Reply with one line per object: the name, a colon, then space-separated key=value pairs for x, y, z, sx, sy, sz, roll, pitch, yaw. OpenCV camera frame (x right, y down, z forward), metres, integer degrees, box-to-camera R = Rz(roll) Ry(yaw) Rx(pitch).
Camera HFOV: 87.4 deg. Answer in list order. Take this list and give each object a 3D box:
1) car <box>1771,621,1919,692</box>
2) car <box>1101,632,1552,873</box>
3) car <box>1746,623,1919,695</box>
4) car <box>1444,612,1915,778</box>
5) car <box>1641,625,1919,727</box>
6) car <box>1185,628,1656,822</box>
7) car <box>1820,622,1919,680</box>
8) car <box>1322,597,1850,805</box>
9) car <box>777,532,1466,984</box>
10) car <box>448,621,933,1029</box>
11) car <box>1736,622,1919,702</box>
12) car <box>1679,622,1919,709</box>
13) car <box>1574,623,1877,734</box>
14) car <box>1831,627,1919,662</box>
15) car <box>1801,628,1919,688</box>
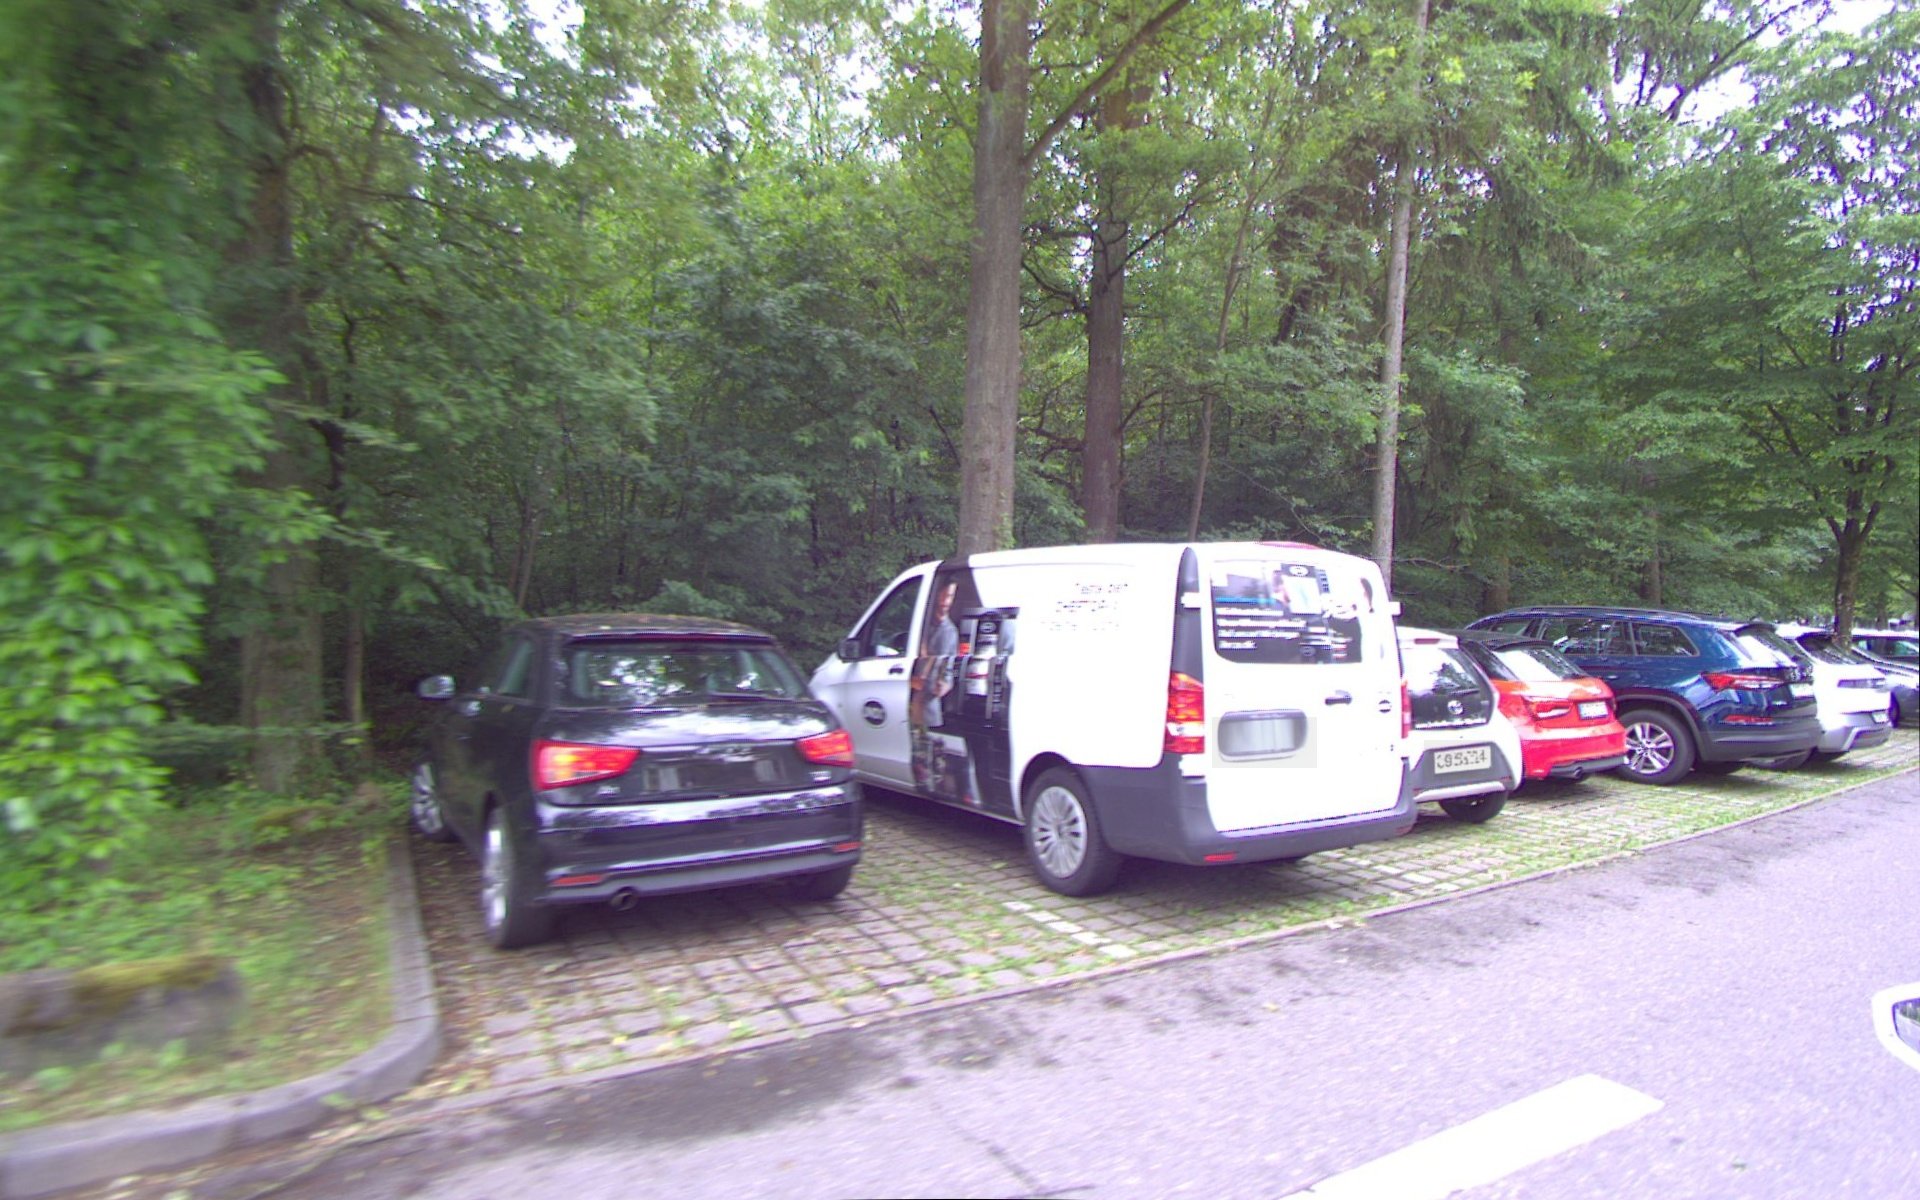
car: x=23.341 y=1.393 z=25.430 sx=1.957 sy=1.669 sz=4.191 roll=1 pitch=-1 yaw=-45
car: x=2.799 y=1.041 z=8.282 sx=1.635 sy=1.486 sz=3.211 roll=0 pitch=-1 yaw=-29
car: x=21.443 y=1.369 z=23.830 sx=1.750 sy=1.554 sz=4.193 roll=1 pitch=-1 yaw=-43
car: x=8.615 y=0.995 z=12.404 sx=2.011 sy=1.619 sz=4.326 roll=2 pitch=-1 yaw=-35
car: x=14.374 y=1.222 z=17.412 sx=1.694 sy=1.511 sz=3.953 roll=1 pitch=-1 yaw=-40
car: x=4.380 y=1.054 z=10.103 sx=1.805 sy=1.464 sz=3.960 roll=1 pitch=-1 yaw=-36
car: x=28.845 y=1.545 z=30.417 sx=1.979 sy=1.649 sz=3.932 roll=1 pitch=-1 yaw=-36
car: x=6.501 y=0.861 z=10.956 sx=2.148 sy=1.717 sz=4.398 roll=1 pitch=1 yaw=-33
car: x=0.556 y=0.695 z=7.000 sx=1.956 sy=1.941 sz=5.060 roll=1 pitch=0 yaw=-31
car: x=-1.887 y=0.888 z=5.907 sx=1.703 sy=1.397 sz=3.965 roll=1 pitch=1 yaw=-32
car: x=19.683 y=1.313 z=21.786 sx=1.990 sy=1.550 sz=4.199 roll=2 pitch=-1 yaw=-39
car: x=17.354 y=1.269 z=20.369 sx=1.706 sy=1.493 sz=4.198 roll=2 pitch=-1 yaw=-40
car: x=12.244 y=1.162 z=16.249 sx=1.658 sy=1.494 sz=3.582 roll=1 pitch=0 yaw=-36
car: x=43.494 y=2.067 z=46.752 sx=4.311 sy=1.506 sz=1.884 roll=1 pitch=-1 yaw=38
car: x=25.376 y=1.541 z=26.580 sx=2.080 sy=1.497 sz=4.595 roll=1 pitch=-1 yaw=-43
